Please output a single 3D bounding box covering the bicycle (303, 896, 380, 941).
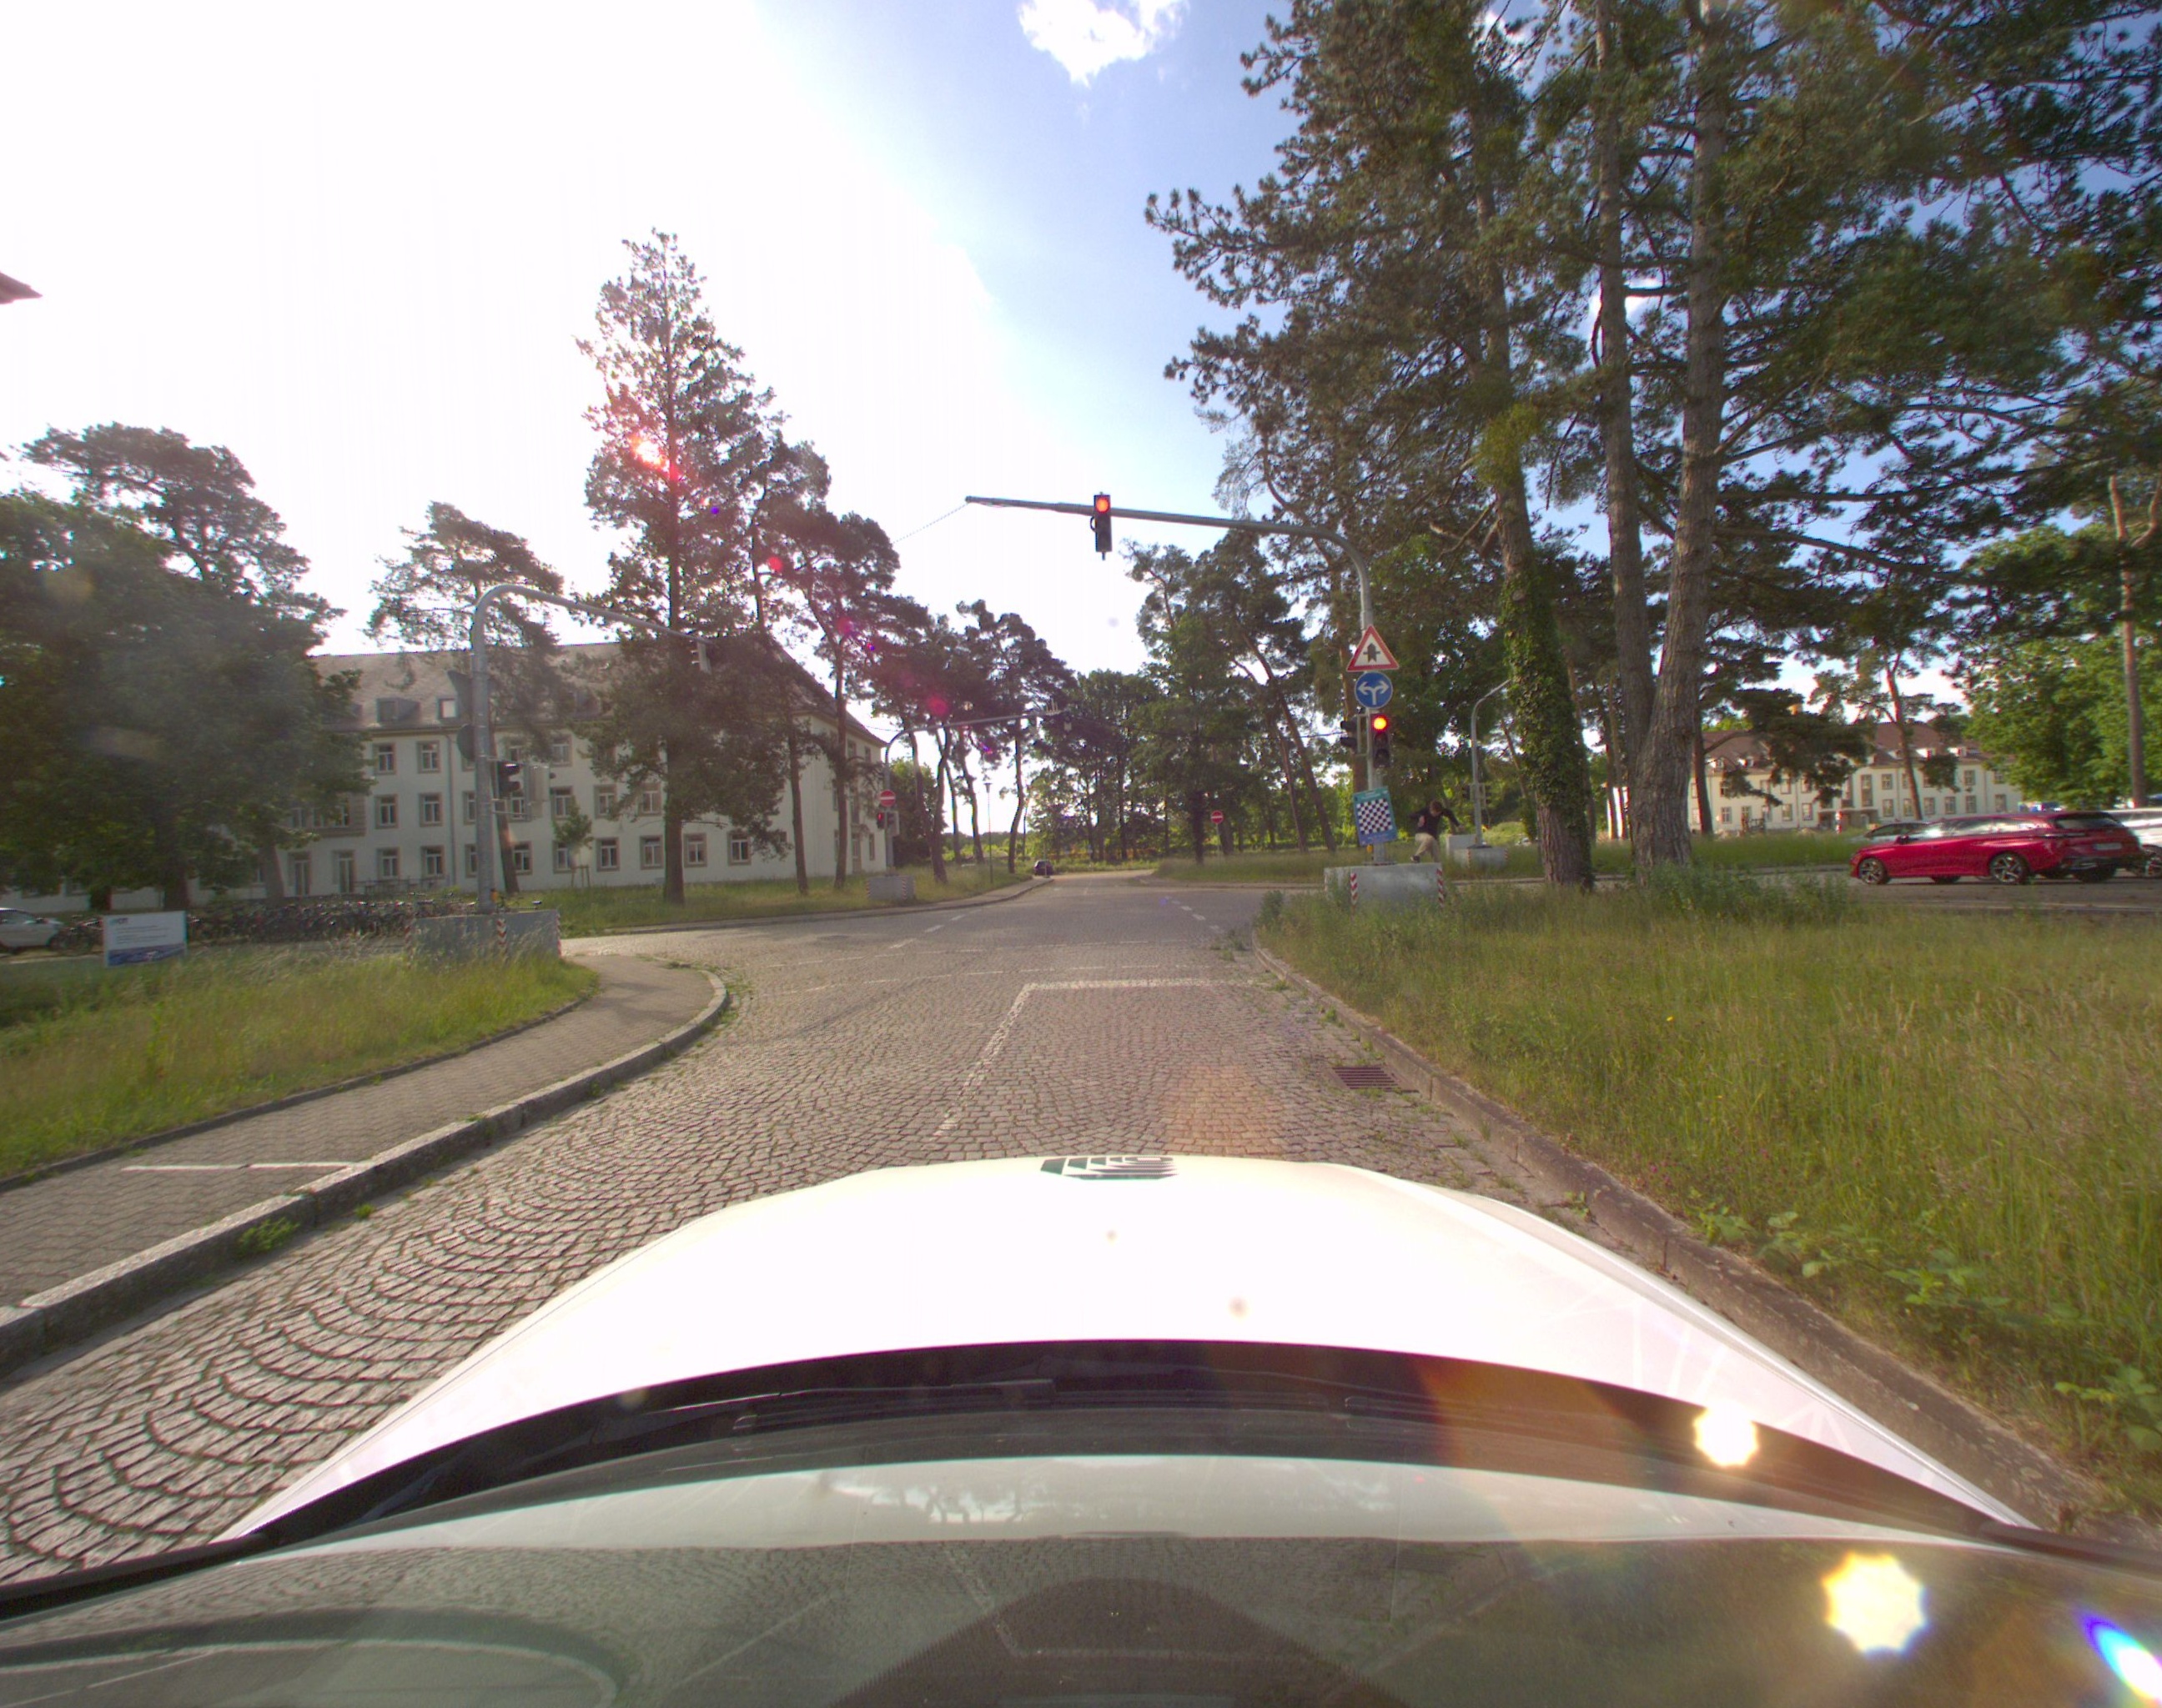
[{"bbox_3d":[-22.923,1.975,25.288,0.512,1.220,1.954,-3,0,1],"label":"bicycle"}]

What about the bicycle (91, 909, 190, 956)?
[{"bbox_3d":[-27.923,2.316,24.215,1.837,1.220,0.510,-3,0,-35],"label":"bicycle"}]

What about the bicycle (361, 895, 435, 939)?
[{"bbox_3d":[-21.231,1.934,25.364,0.512,1.220,2.016,-3,0,1],"label":"bicycle"}]

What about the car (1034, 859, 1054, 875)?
[{"bbox_3d":[-3.670,1.299,81.110,1.705,1.496,3.917,-3,0,-1],"label":"car"}]

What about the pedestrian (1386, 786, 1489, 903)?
[{"bbox_3d":[5.794,-0.153,13.222,1.178,1.796,1.050,-3,0,-43],"label":"pedestrian"}]

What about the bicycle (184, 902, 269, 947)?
[{"bbox_3d":[-26.562,2.170,25.360,0.512,1.220,1.937,-3,0,1],"label":"bicycle"}]

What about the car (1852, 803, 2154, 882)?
[{"bbox_3d":[18.856,-0.171,16.996,1.649,1.399,4.130,-2,-1,1],"label":"car"}]

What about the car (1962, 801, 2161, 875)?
[{"bbox_3d":[21.694,-0.329,17.084,1.773,1.379,4.239,-3,-2,0],"label":"car"}]

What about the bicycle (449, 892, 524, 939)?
[{"bbox_3d":[-17.953,1.838,24.673,0.631,1.220,2.124,-3,0,1],"label":"bicycle"}]

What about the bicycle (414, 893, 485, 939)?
[{"bbox_3d":[-19.404,1.881,25.075,0.570,1.220,1.990,-3,0,1],"label":"bicycle"}]

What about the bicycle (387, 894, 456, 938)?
[{"bbox_3d":[-20.713,1.919,25.636,0.546,1.220,1.900,-3,0,1],"label":"bicycle"}]

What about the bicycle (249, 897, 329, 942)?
[{"bbox_3d":[-24.615,2.023,25.350,0.512,1.220,1.937,-3,0,1],"label":"bicycle"}]

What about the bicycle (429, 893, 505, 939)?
[{"bbox_3d":[-18.557,1.856,24.684,0.631,1.220,2.105,-3,0,1],"label":"bicycle"}]

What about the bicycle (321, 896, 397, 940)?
[{"bbox_3d":[-22.397,1.963,25.318,0.512,1.220,1.977,-3,0,1],"label":"bicycle"}]

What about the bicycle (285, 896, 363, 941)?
[{"bbox_3d":[-23.478,1.990,25.303,0.512,1.220,1.937,-3,0,1],"label":"bicycle"}]

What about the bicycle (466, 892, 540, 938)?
[{"bbox_3d":[-17.470,1.823,24.679,0.631,1.220,2.114,-3,0,1],"label":"bicycle"}]

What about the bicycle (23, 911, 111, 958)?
[{"bbox_3d":[-30.974,2.435,24.920,0.513,1.220,1.824,-3,0,-7],"label":"bicycle"}]

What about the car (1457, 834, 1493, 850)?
[{"bbox_3d":[41.714,-1.266,86.326,1.820,1.582,4.164,-3,0,1],"label":"car"}]

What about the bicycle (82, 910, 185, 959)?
[{"bbox_3d":[-27.535,2.310,23.704,1.837,1.220,0.510,-3,0,-35],"label":"bicycle"}]

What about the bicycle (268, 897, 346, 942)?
[{"bbox_3d":[-24.023,2.006,25.328,0.512,1.220,1.937,-3,0,1],"label":"bicycle"}]

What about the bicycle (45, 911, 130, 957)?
[{"bbox_3d":[-30.368,2.417,24.933,0.514,1.220,1.823,-3,0,-9],"label":"bicycle"}]

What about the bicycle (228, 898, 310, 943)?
[{"bbox_3d":[-25.226,2.040,25.342,0.512,1.220,1.937,-3,0,1],"label":"bicycle"}]

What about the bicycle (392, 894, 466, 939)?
[{"bbox_3d":[-20.149,1.904,25.210,0.576,1.220,2.029,-3,0,1],"label":"bicycle"}]

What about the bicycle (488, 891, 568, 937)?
[{"bbox_3d":[-16.231,1.742,23.912,1.855,1.220,0.635,-3,0,1],"label":"bicycle"}]

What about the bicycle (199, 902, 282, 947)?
[{"bbox_3d":[-26.114,2.157,25.350,0.512,1.220,1.937,-3,0,1],"label":"bicycle"}]

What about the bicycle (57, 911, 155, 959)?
[{"bbox_3d":[-29.033,2.387,24.278,0.509,1.220,1.841,-3,0,38],"label":"bicycle"}]

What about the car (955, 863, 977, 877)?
[{"bbox_3d":[-11.552,1.629,81.966,1.705,1.274,3.917,-3,0,-1],"label":"car"}]

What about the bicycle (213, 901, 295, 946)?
[{"bbox_3d":[-25.685,2.145,25.348,0.512,1.220,1.937,-3,0,1],"label":"bicycle"}]

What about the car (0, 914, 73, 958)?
[{"bbox_3d":[-33.956,2.622,24.948,1.504,1.211,3.596,-3,0,3],"label":"car"}]

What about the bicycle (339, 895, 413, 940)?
[{"bbox_3d":[-21.879,1.952,25.321,0.512,1.220,1.977,-3,0,1],"label":"bicycle"}]
